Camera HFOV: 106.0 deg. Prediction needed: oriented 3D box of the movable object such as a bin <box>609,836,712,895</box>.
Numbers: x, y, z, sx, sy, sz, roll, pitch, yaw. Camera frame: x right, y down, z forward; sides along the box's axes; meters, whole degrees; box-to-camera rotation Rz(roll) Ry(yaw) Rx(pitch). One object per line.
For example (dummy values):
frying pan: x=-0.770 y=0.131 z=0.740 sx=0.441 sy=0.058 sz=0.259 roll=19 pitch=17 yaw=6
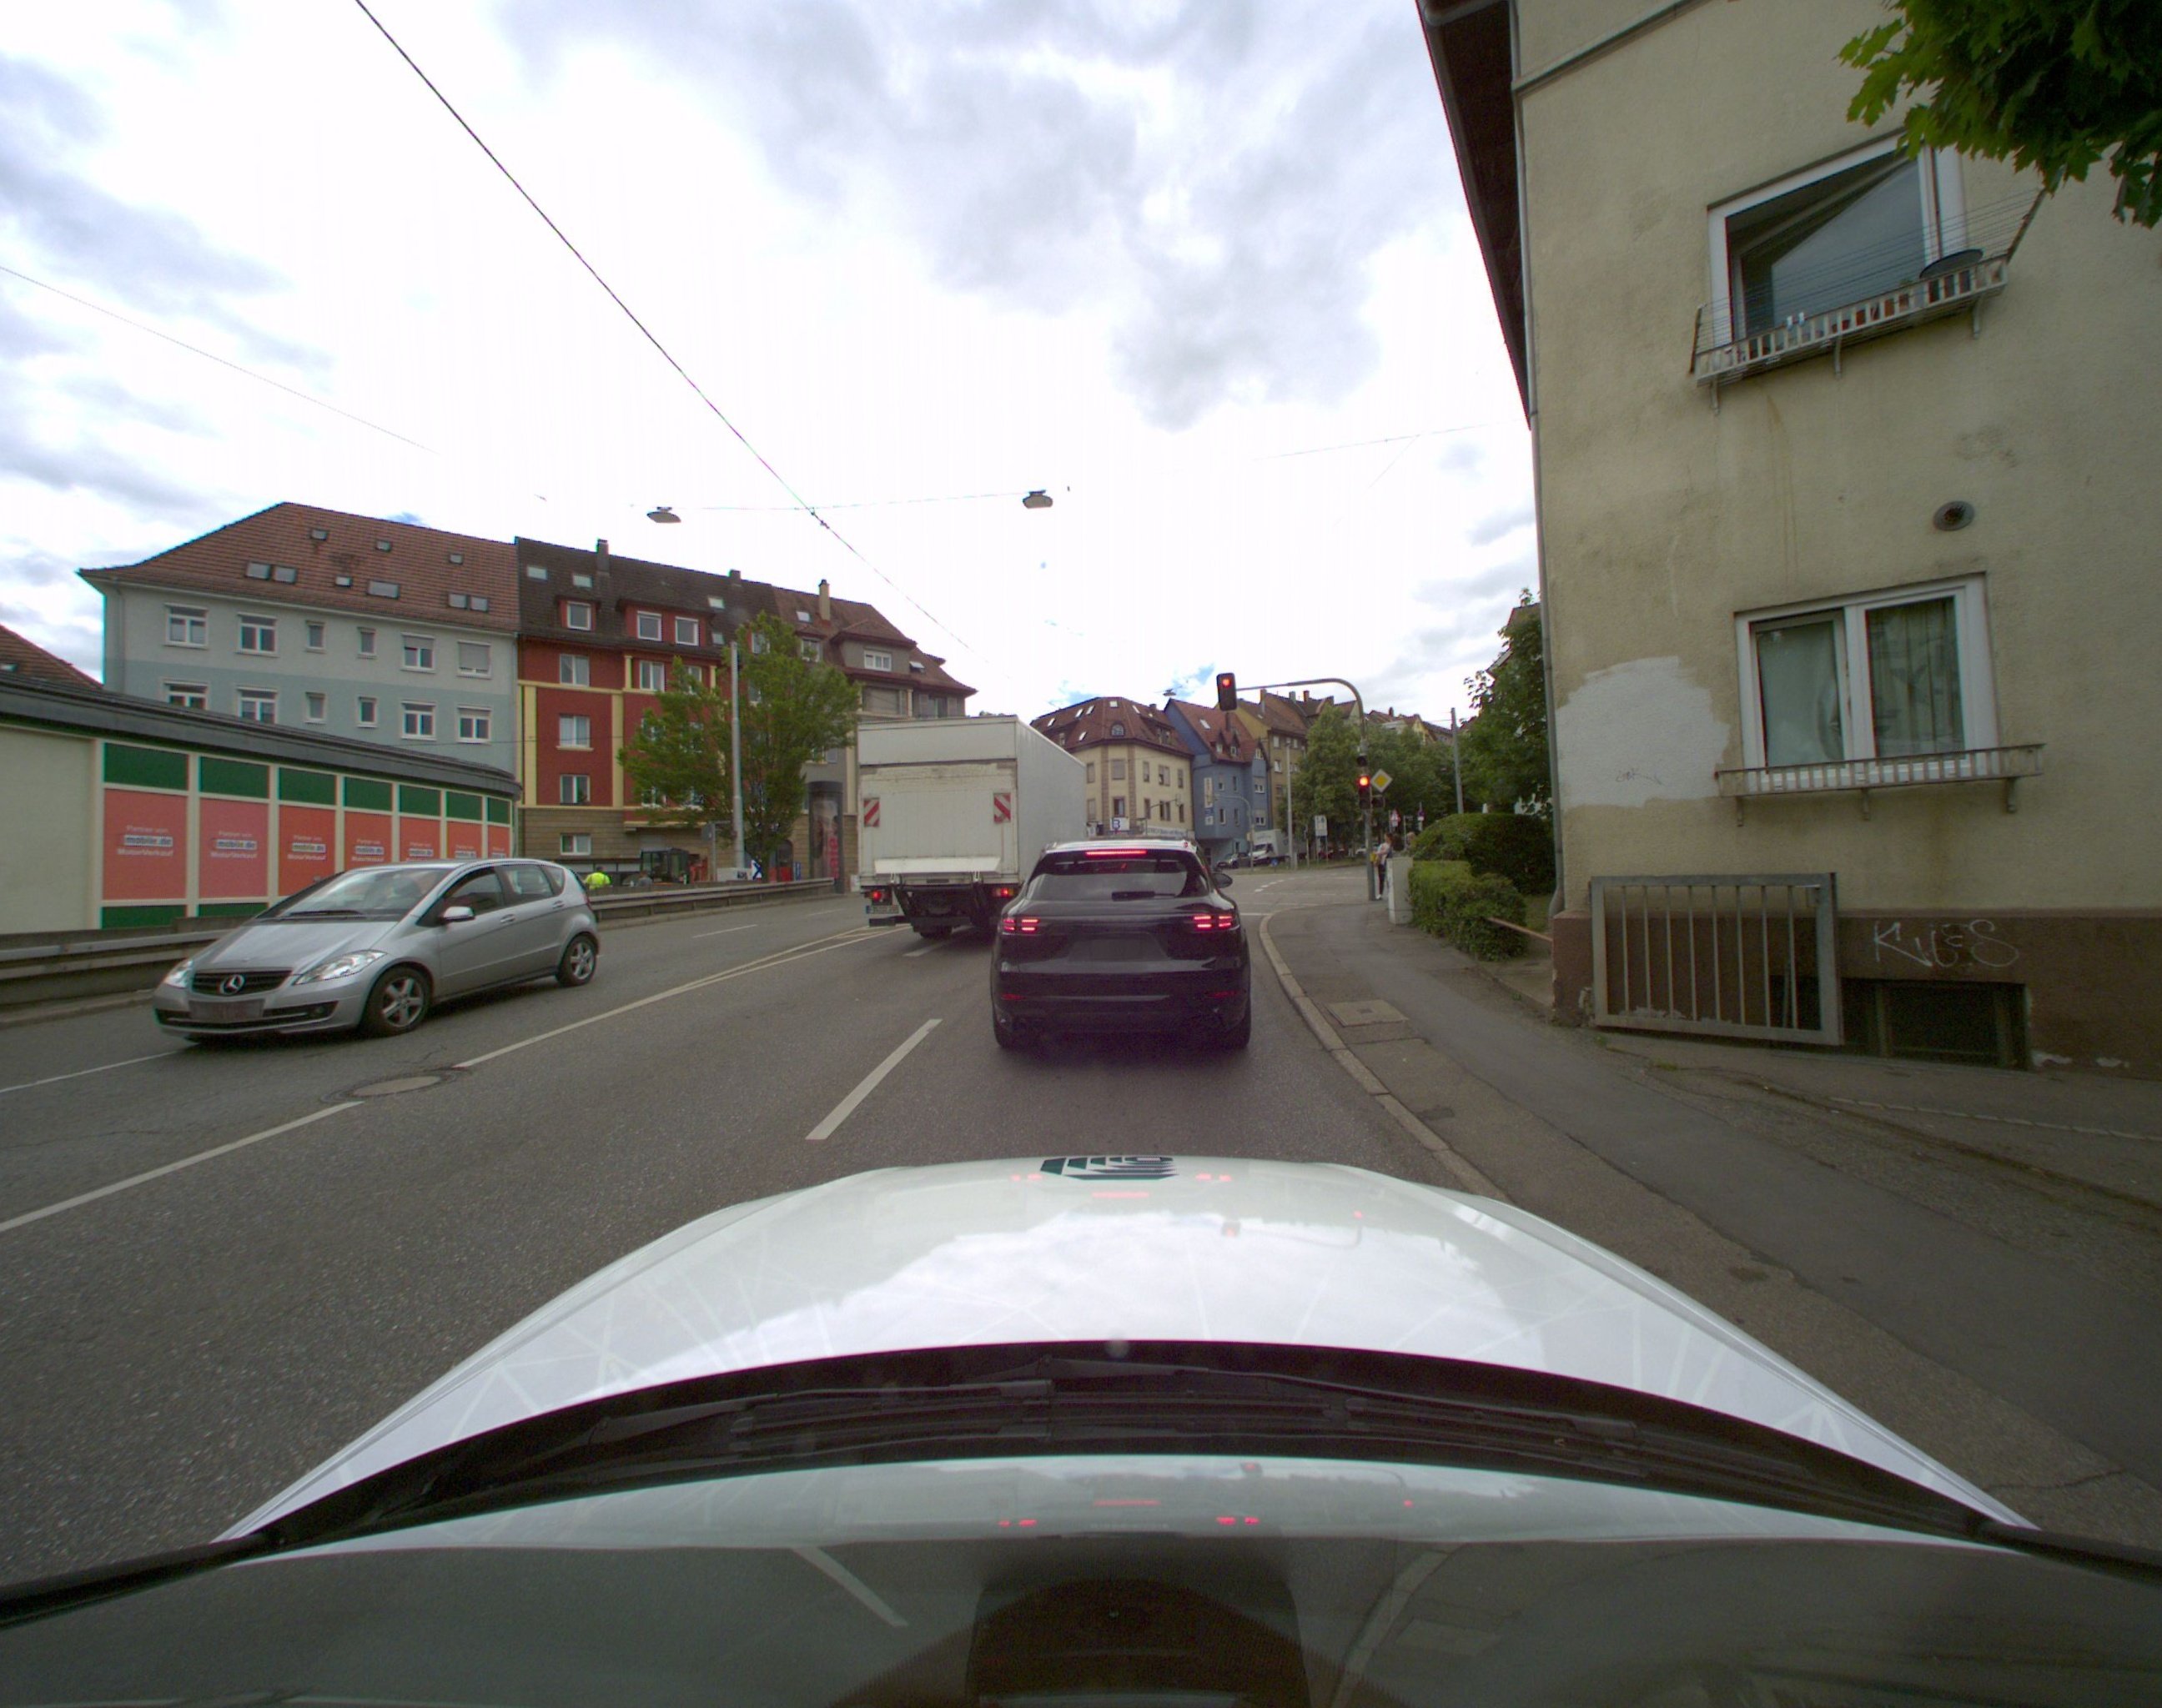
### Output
movable object such as a bin: x=-13.469 y=0.356 z=26.354 sx=1.903 sy=1.771 sz=3.984 roll=1 pitch=0 yaw=-11

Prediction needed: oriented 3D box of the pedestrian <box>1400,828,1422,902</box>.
pedestrian: x=8.286 y=0.281 z=20.466 sx=0.459 sy=1.837 sz=0.325 roll=0 pitch=-1 yaw=16

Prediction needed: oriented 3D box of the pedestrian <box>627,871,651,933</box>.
pedestrian: x=-12.592 y=1.364 z=23.207 sx=0.545 sy=1.730 sz=0.587 roll=1 pitch=-1 yaw=-33

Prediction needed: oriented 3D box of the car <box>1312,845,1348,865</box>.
car: x=26.211 y=0.144 z=85.728 sx=1.975 sy=2.014 sz=4.023 roll=0 pitch=-1 yaw=45

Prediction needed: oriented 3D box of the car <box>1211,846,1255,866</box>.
car: x=13.418 y=0.176 z=71.746 sx=1.974 sy=1.684 sz=4.025 roll=-2 pitch=-1 yaw=41

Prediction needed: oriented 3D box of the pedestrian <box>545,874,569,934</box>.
pedestrian: x=-15.332 y=1.446 z=23.823 sx=0.479 sy=1.730 sz=0.536 roll=1 pitch=-1 yaw=-44

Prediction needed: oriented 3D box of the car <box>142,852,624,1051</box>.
car: x=-6.906 y=0.821 z=8.748 sx=1.703 sy=1.618 sz=4.000 roll=-1 pitch=0 yaw=0

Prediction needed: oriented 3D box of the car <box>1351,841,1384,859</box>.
car: x=32.248 y=-0.448 z=91.713 sx=1.975 sy=2.014 sz=4.023 roll=0 pitch=-1 yaw=45

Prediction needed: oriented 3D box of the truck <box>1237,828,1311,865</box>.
truck: x=18.643 y=-0.643 z=78.189 sx=2.846 sy=3.340 sz=8.846 roll=0 pitch=0 yaw=43

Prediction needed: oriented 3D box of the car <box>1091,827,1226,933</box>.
car: x=1.584 y=0.441 z=15.155 sx=1.980 sy=1.684 sz=4.014 roll=-1 pitch=0 yaw=12

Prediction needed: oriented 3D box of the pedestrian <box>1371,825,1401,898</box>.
pedestrian: x=7.666 y=0.192 z=20.493 sx=0.586 sy=1.819 sz=0.530 roll=1 pitch=-1 yaw=6

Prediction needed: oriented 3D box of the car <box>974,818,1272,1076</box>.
car: x=0.259 y=0.605 z=7.472 sx=1.973 sy=1.684 sz=3.998 roll=-1 pitch=0 yaw=-1

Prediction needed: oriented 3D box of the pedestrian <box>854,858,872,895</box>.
pedestrian: x=-9.449 y=0.970 z=35.332 sx=0.587 sy=1.567 sz=0.486 roll=1 pitch=-1 yaw=1

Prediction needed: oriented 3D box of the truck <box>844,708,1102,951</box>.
truck: x=-1.542 y=-0.383 z=16.155 sx=2.752 sy=3.575 sz=8.086 roll=-1 pitch=0 yaw=9

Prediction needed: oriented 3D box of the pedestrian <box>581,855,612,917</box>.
pedestrian: x=-14.085 y=0.922 z=23.686 sx=0.571 sy=1.761 sz=0.616 roll=1 pitch=-1 yaw=-8
